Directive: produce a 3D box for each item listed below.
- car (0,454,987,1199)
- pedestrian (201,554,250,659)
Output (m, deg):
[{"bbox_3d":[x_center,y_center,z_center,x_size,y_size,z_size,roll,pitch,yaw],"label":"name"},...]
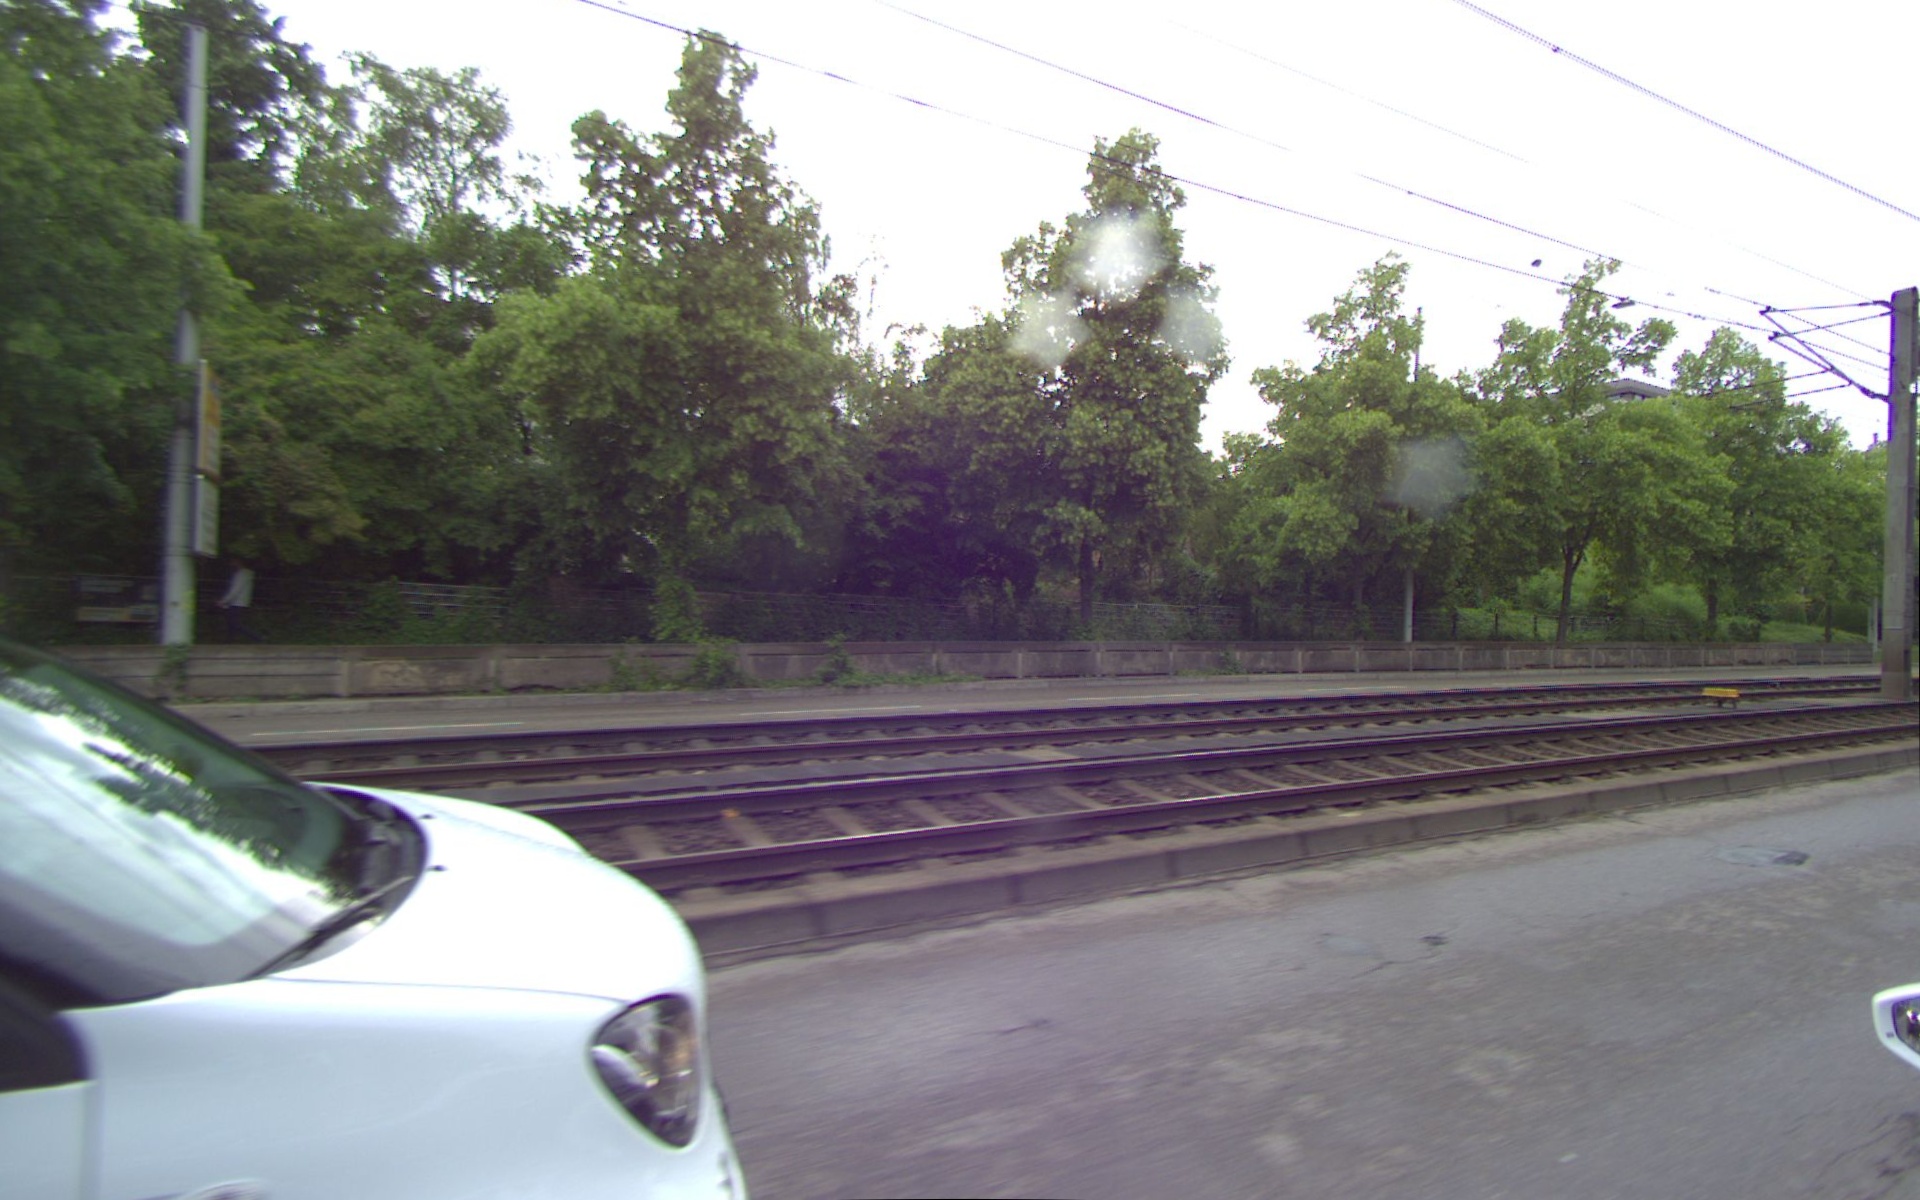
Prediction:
[{"bbox_3d":[-1.957,0.628,1.310,3.678,1.551,1.668,1,-1,-31],"label":"car"},{"bbox_3d":[-13.730,0.121,18.800,0.646,1.928,0.592,1,1,-31],"label":"pedestrian"}]
